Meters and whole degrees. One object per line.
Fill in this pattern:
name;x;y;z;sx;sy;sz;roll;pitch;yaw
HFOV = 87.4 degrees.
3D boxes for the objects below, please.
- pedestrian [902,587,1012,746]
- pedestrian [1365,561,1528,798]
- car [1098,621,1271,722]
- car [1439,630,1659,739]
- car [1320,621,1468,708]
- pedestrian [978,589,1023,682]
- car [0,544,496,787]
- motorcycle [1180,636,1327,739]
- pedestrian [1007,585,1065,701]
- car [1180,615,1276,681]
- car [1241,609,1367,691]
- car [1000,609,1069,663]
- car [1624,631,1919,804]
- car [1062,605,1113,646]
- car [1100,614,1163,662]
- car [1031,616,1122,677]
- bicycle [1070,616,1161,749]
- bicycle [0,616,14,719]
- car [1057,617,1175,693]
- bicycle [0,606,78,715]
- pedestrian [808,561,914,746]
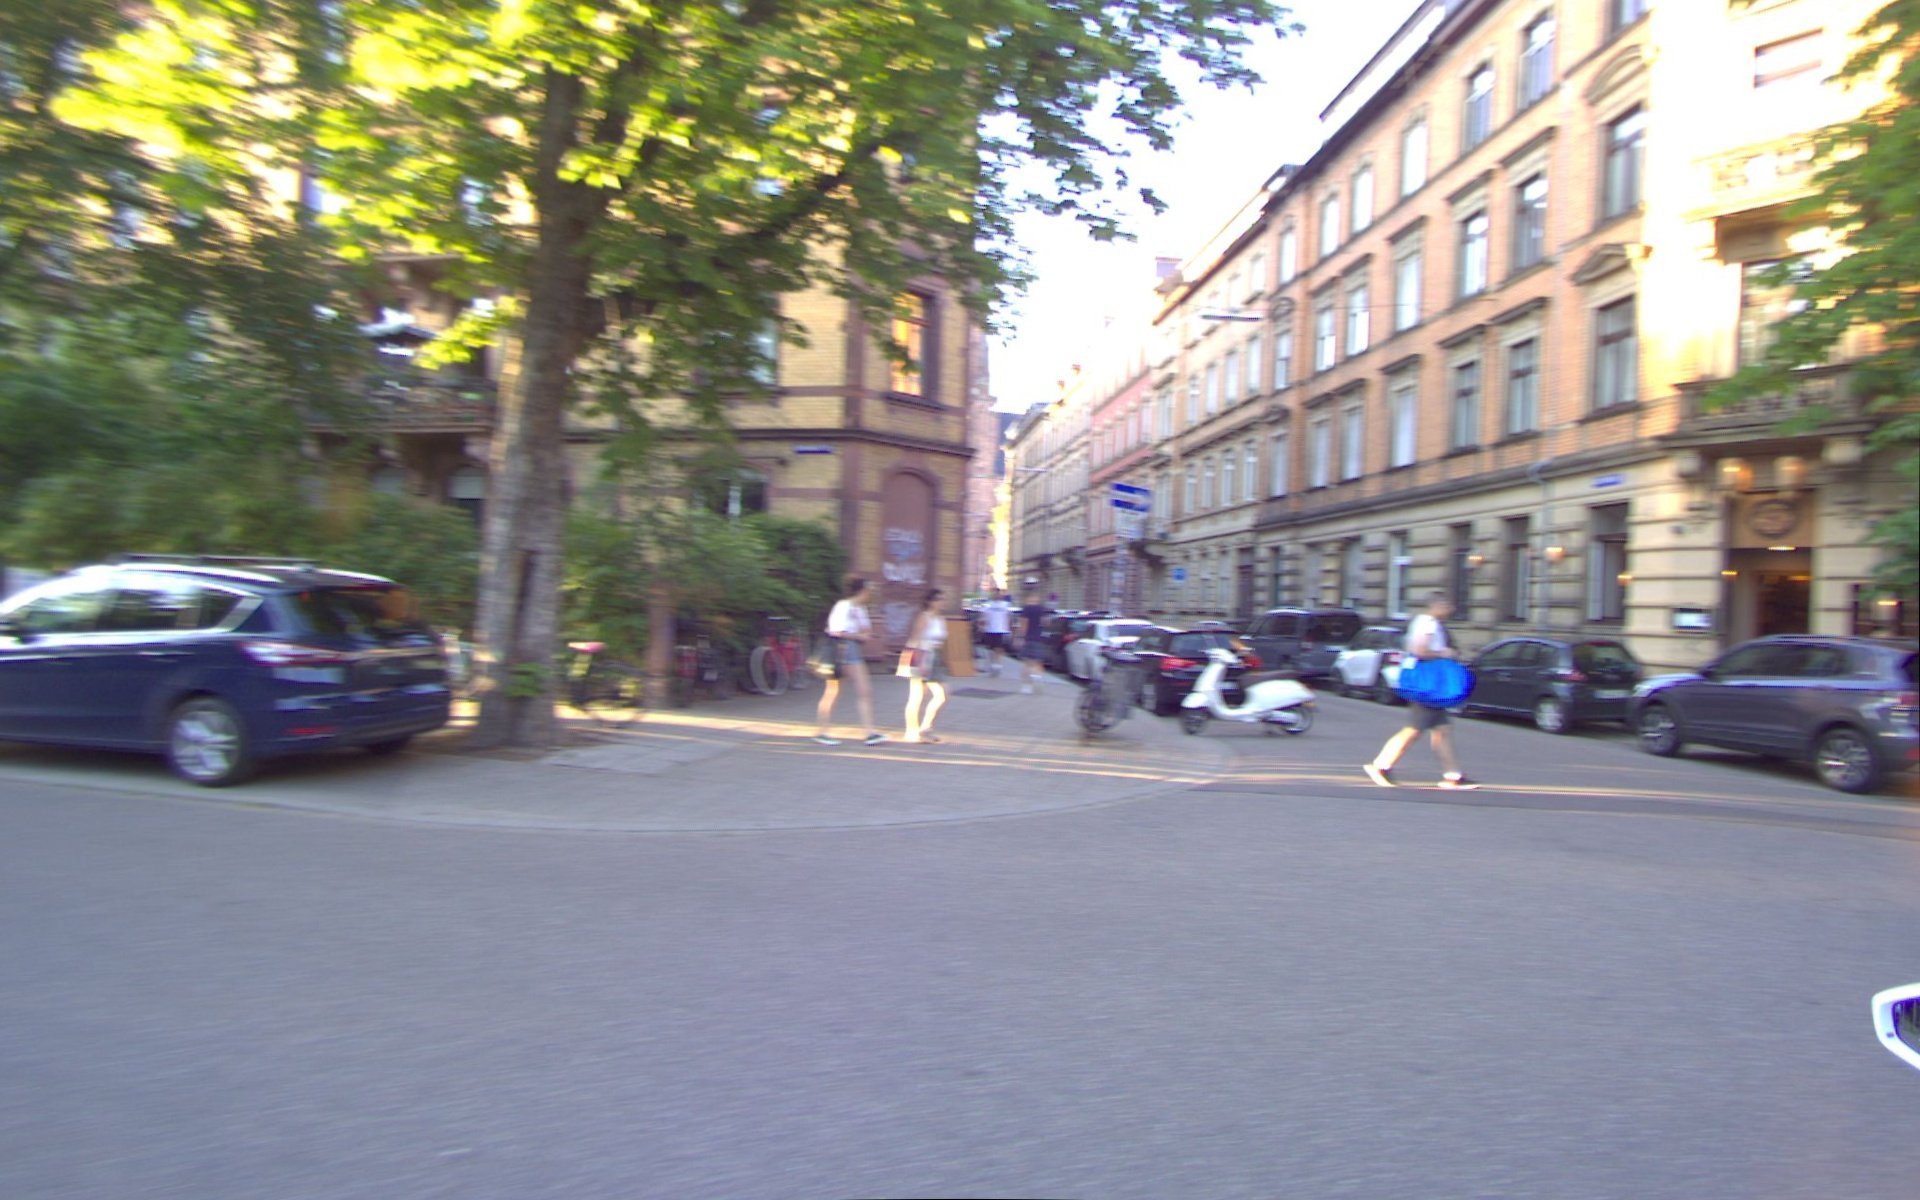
pedestrian;-0.047;0.713;10.944;1.034;1.652;0.686;2;-1;-11
pedestrian;4.438;0.703;9.220;0.990;2.040;0.868;2;-1;-5
car;3.667;1.118;17.170;1.753;1.478;4.016;1;-1;-5
car;9.468;1.304;16.445;1.439;1.478;3.331;1;0;-5
car;8.864;1.263;20.779;1.439;1.615;3.332;1;-1;-4
pedestrian;0.853;0.727;21.116;0.765;1.847;0.925;5;2;4
car;-6.597;0.431;8.671;4.499;1.710;1.873;2;1;14
motorcycle;3.860;1.138;13.312;1.823;1.273;0.473;1;-1;13
pedestrian;1.287;0.708;16.934;0.674;1.847;0.793;5;2;17
car;7.992;1.392;30.248;1.656;1.847;3.486;1;-1;-5
car;8.333;1.162;24.642;1.656;1.847;3.486;1;-1;-5
car;2.343;1.118;32.497;1.549;1.593;4.117;1;-1;-5
car;9.687;1.172;11.374;1.602;1.566;3.856;1;-1;-4
car;6.002;1.194;47.637;1.656;1.847;3.486;1;-1;-5
car;6.879;1.496;40.628;1.656;1.847;3.486;1;-1;-5
car;3.028;1.181;26.953;1.549;1.478;4.421;1;-1;-5
bicycle;1.861;0.916;11.834;0.508;1.411;1.799;4;1;25
bicycle;-10.841;0.685;10.250;1.773;1.051;0.606;2;2;-1
car;3.307;1.123;22.104;1.549;1.478;4.421;1;-1;-5
bicycle;-10.776;0.632;11.006;1.772;1.108;0.606;2;2;5
pedestrian;-1.061;0.561;10.640;0.992;1.859;0.686;2;-1;-11
